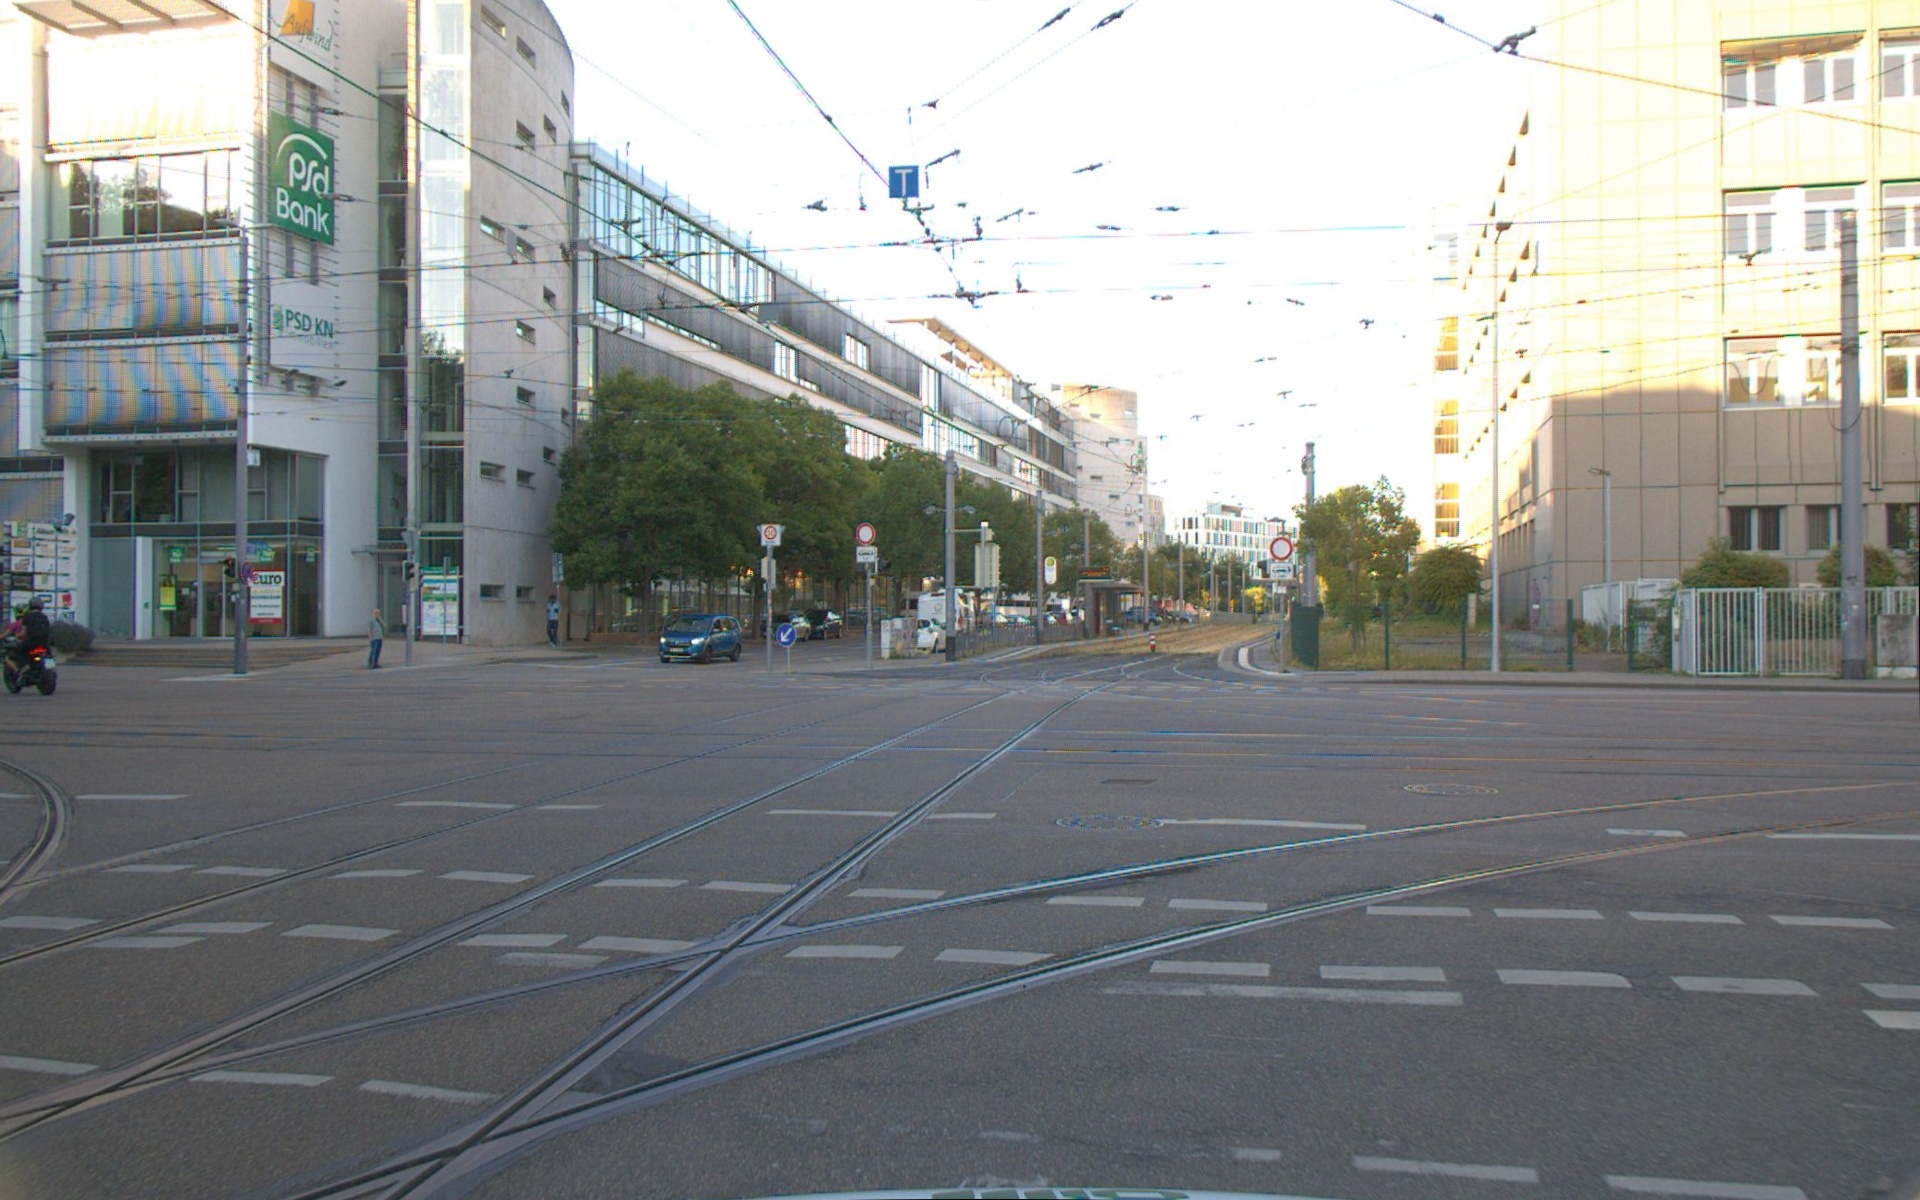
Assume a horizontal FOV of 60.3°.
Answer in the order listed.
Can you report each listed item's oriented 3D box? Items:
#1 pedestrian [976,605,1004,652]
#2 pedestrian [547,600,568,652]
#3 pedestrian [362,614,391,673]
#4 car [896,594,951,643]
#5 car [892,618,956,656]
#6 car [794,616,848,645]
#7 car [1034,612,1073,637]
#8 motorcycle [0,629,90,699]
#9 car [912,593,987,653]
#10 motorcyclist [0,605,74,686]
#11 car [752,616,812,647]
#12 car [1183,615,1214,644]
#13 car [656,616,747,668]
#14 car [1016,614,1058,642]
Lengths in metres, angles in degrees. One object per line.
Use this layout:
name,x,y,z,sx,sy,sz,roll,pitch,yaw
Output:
pedestrian,1.342,1.253,73.696,1.022,2.066,0.980,0,-1,-15
pedestrian,-15.360,1.002,63.118,0.648,1.956,0.548,-1,-1,2
pedestrian,-17.273,1.284,48.965,0.535,1.741,0.660,-1,-1,23
car,-2.410,1.206,110.311,2.154,3.207,6.147,0,0,13
car,-1.442,1.490,67.292,1.647,1.464,4.129,0,0,13
car,-7.434,1.624,88.604,1.647,1.528,4.242,0,0,13
car,5.690,1.487,100.141,1.647,1.464,4.129,0,0,13
motorcycle,-17.383,1.185,31.142,2.442,1.262,0.827,-1,-1,37
car,-0.400,0.983,73.111,2.408,2.526,5.813,0,0,9
motorcyclist,-17.400,0.840,31.158,1.183,1.499,0.827,-1,-1,37
car,-8.879,1.554,82.805,1.647,1.528,4.242,0,0,13
car,17.180,2.129,118.971,1.951,2.049,4.003,0,0,11
car,-9.061,1.456,58.293,1.647,1.729,4.242,0,0,14
car,4.293,1.545,91.813,1.647,1.464,4.129,0,0,13
